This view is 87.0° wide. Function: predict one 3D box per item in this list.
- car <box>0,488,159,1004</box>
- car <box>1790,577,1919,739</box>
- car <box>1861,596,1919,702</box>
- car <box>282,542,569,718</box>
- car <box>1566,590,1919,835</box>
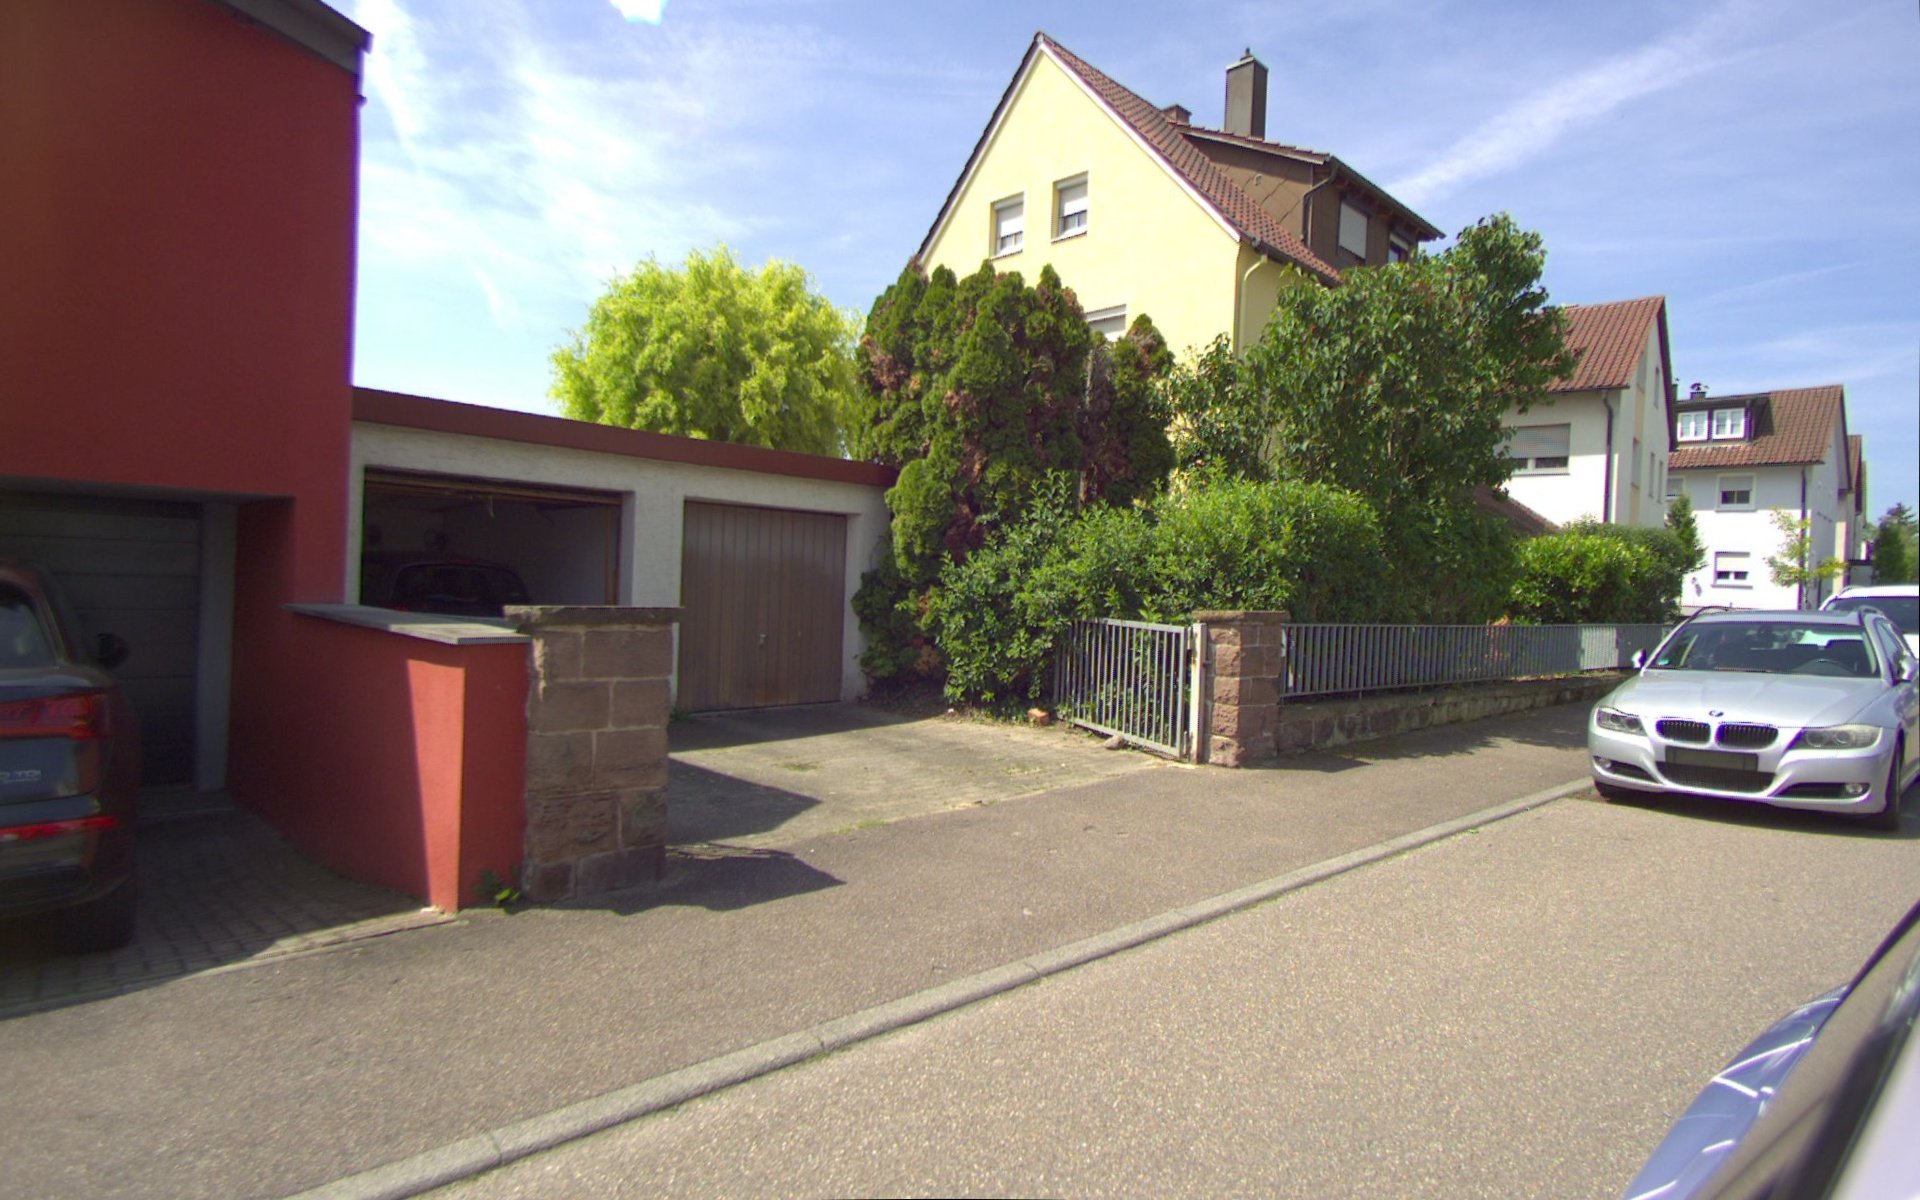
[{"bbox_3d":[-4.983,0.615,4.610,1.844,1.690,4.371,0,-4,-42],"label":"car"},{"bbox_3d":[11.441,0.601,12.045,4.261,1.683,1.739,0,0,-41],"label":"car"},{"bbox_3d":[15.177,0.694,15.427,4.296,1.487,1.627,0,0,-41],"label":"car"},{"bbox_3d":[-5.780,0.183,10.705,1.758,1.484,3.961,2,2,-42],"label":"car"},{"bbox_3d":[6.570,0.662,8.069,4.344,1.439,1.754,0,0,-41],"label":"car"}]
